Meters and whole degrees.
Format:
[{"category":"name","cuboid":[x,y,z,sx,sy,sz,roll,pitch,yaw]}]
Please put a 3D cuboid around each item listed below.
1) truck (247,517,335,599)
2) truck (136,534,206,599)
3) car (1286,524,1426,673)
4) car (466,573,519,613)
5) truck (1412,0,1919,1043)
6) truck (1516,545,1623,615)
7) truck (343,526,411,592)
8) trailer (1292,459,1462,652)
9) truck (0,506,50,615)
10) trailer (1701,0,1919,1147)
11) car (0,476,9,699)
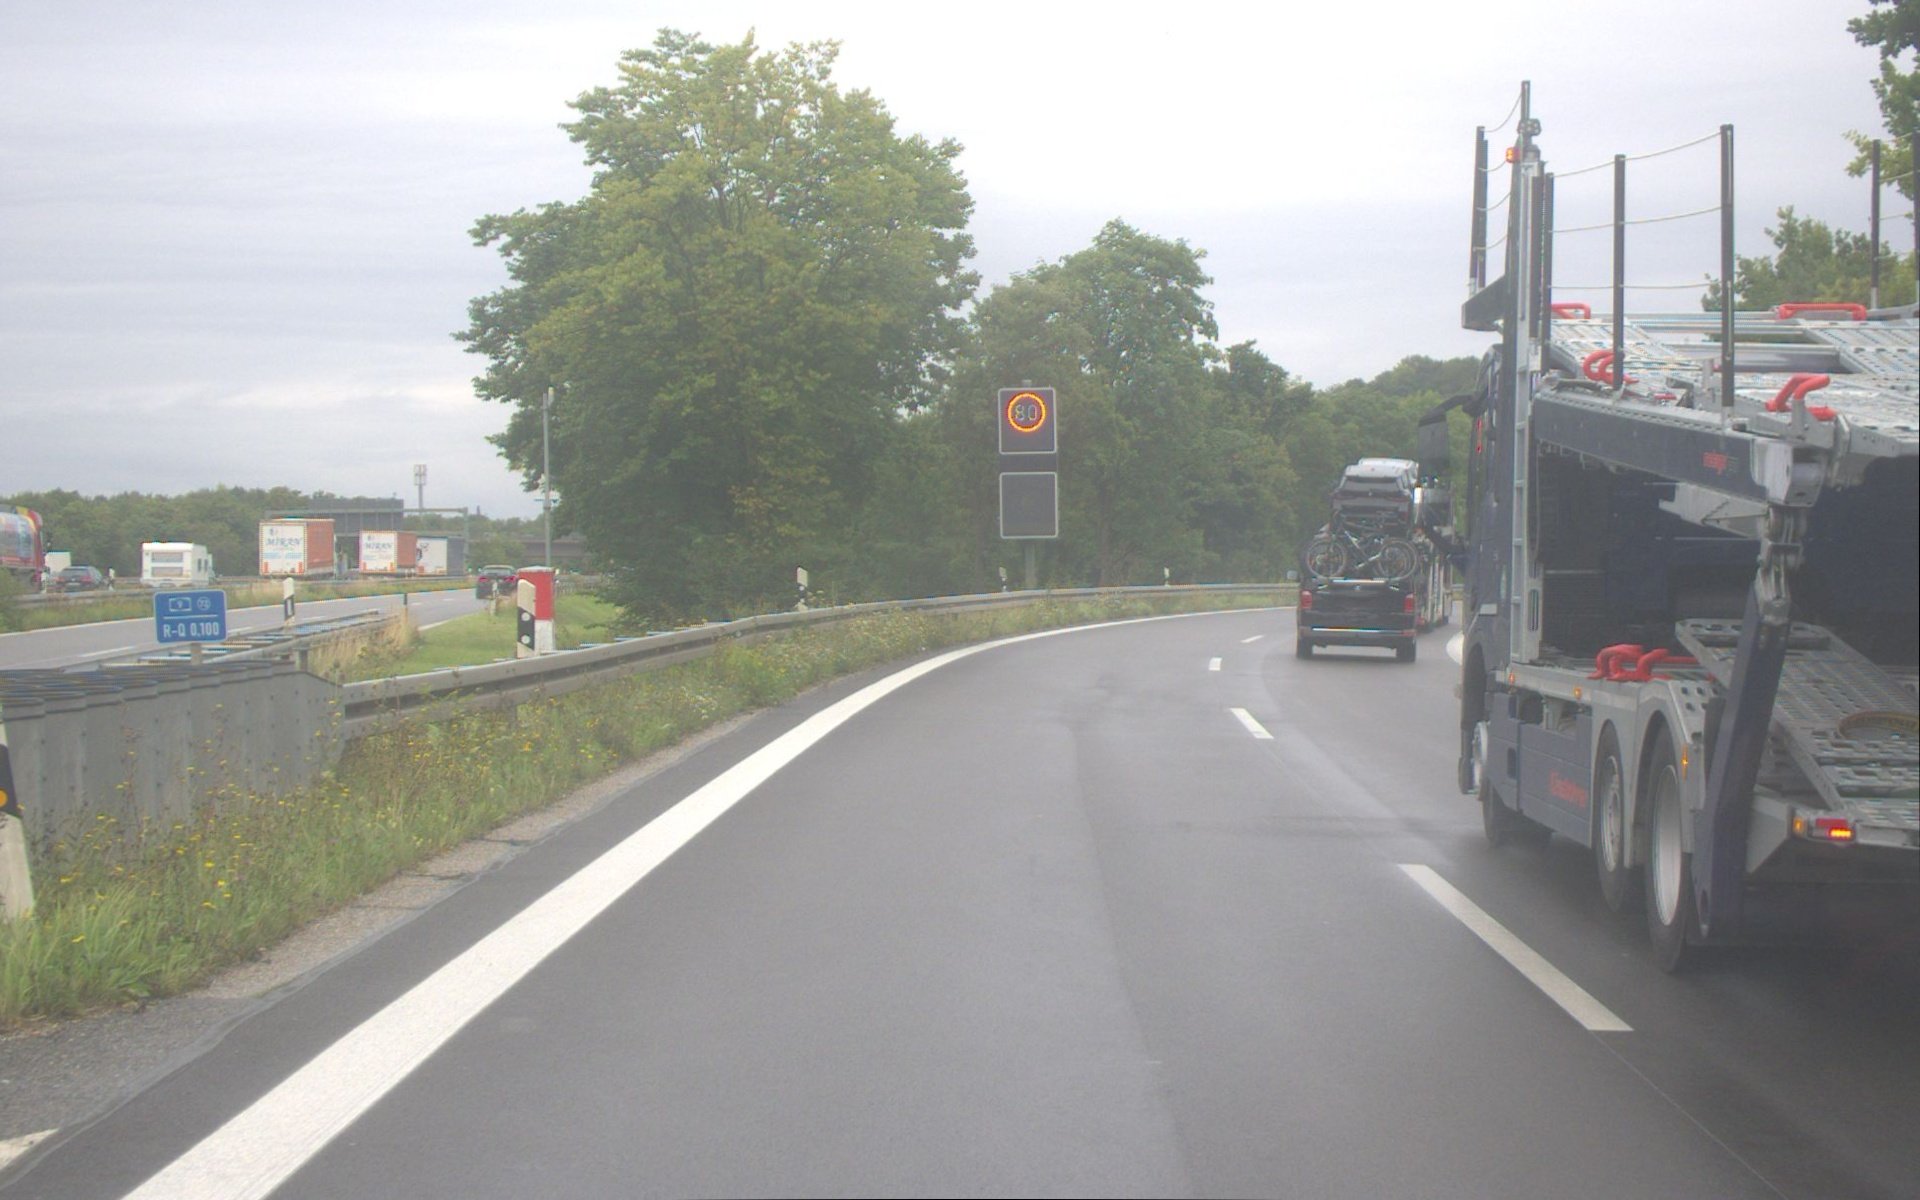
[{"category":"truck","cuboid":[-37.392,-2.351,192.550,3.732,4.402,10.197,1,1,-5]},{"category":"truck","cuboid":[-34.219,-1.457,149.242,2.242,2.695,5.280,1,0,-5]},{"category":"car","cuboid":[6.418,-0.052,55.308,2.110,2.257,5.894,0,0,8]},{"category":"car","cuboid":[-19.795,-0.302,145.684,1.961,1.632,5.626,1,0,-5]},{"category":"truck","cuboid":[3.947,-0.578,15.682,2.739,3.954,9.128,1,1,1]},{"category":"truck","cuboid":[23.395,-0.768,131.675,2.651,2.596,6.411,1,1,23]},{"category":"truck","cuboid":[-40.900,-2.881,241.412,3.732,4.402,11.899,1,1,-5]},{"category":"trailer","cuboid":[9.742,-1.049,80.356,3.450,3.986,12.024,3,1,7]},{"category":"truck","cuboid":[-31.164,-1.267,109.365,2.856,3.353,8.632,1,0,-5]},{"category":"trailer","cuboid":[3.745,-0.239,5.850,2.777,3.273,10.407,1,1,1]},{"category":"car","cuboid":[-10.639,-0.125,31.994,2.372,2.259,6.258,1,0,-6]}]
